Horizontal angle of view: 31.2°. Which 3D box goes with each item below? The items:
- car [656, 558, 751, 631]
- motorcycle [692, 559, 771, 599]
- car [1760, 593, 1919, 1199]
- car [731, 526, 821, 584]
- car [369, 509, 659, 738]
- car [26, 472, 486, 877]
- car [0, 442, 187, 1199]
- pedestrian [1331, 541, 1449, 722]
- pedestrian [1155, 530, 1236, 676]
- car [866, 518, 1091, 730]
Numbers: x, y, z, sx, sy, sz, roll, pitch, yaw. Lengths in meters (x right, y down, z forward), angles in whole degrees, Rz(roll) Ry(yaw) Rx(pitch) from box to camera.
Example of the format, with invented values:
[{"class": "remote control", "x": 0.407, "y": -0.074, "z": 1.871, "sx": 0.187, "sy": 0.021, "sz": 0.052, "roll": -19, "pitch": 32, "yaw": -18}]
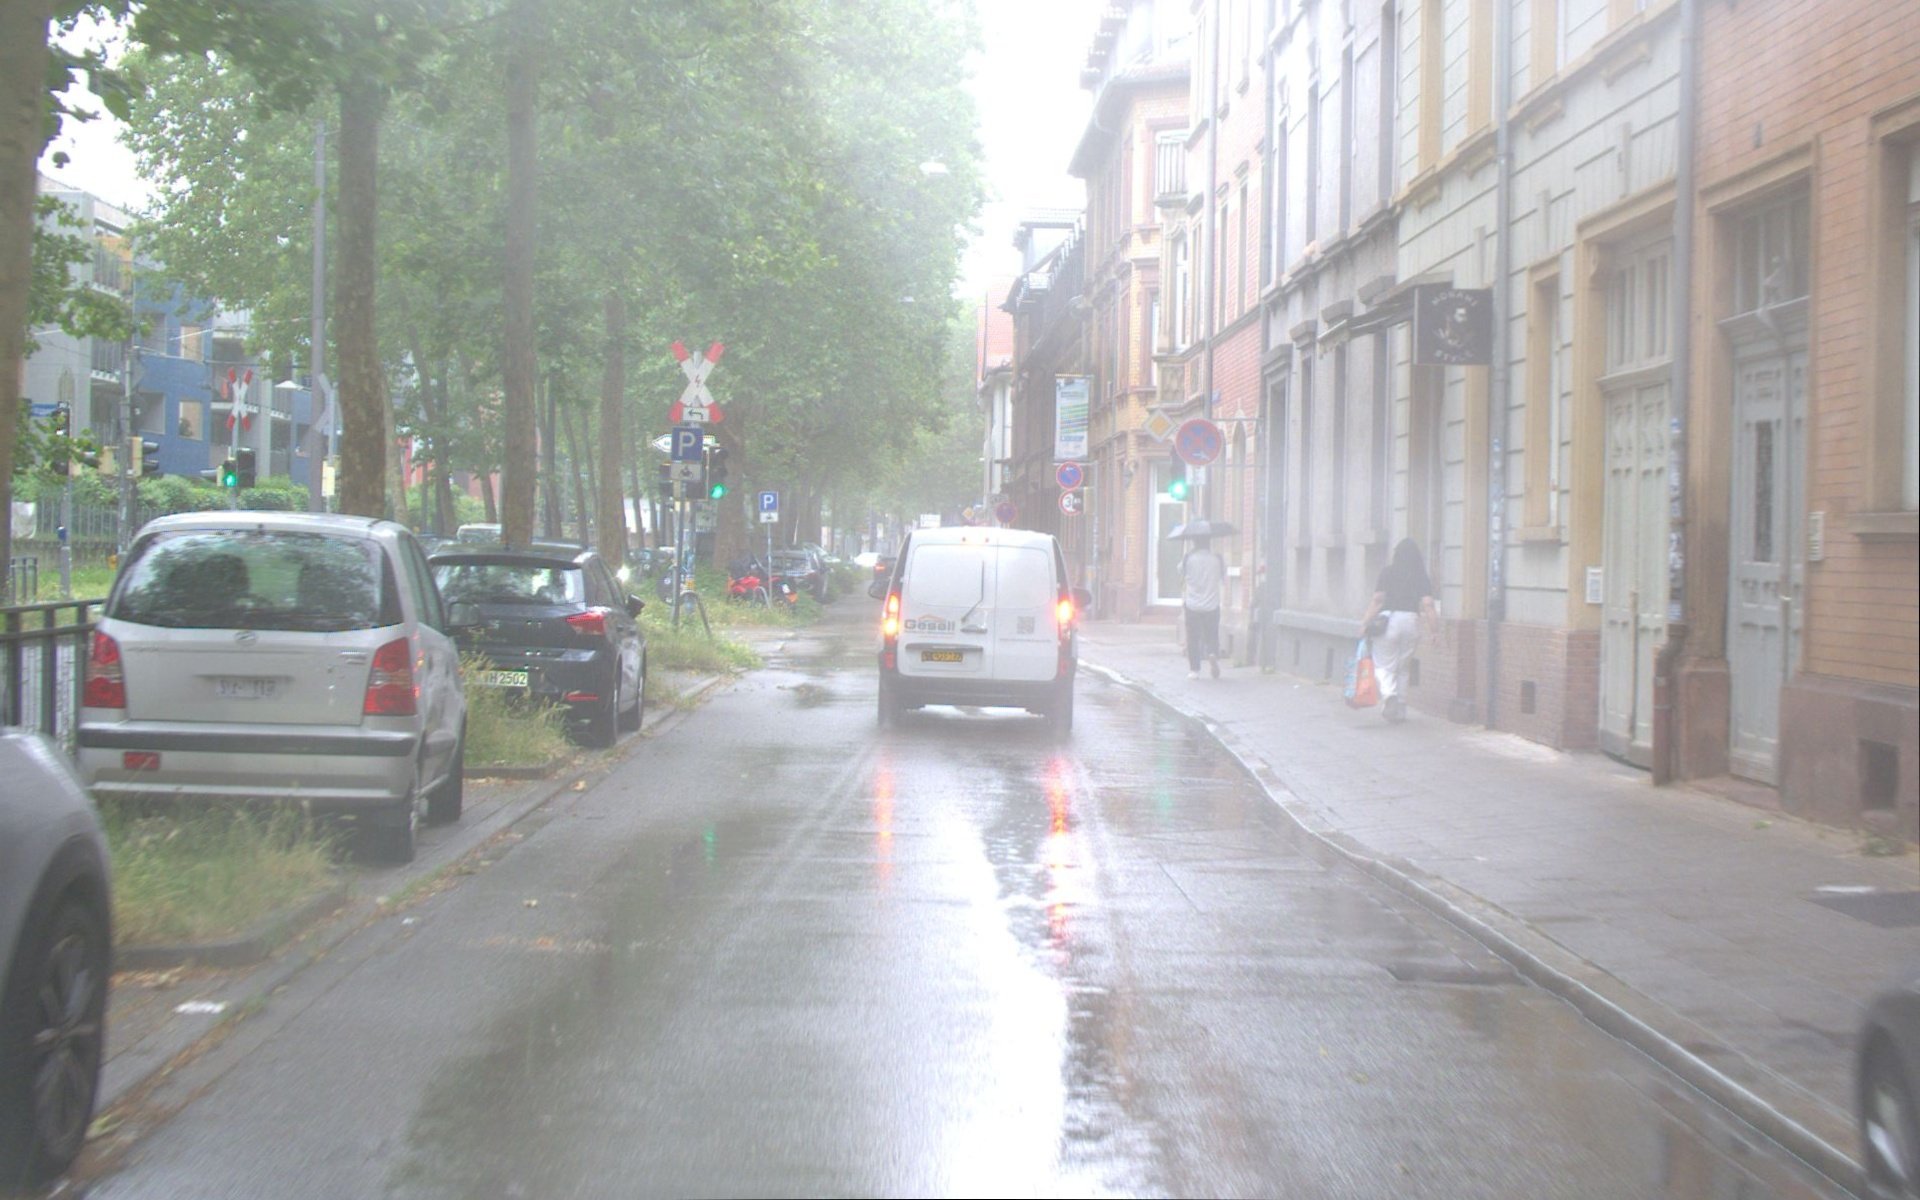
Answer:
[{"class": "car", "x": -6.005, "y": -0.148, "z": 80.777, "sx": 1.997, "sy": 1.607, "sz": 4.000, "roll": 2, "pitch": 1, "yaw": -2}, {"class": "motorcycle", "x": -5.167, "y": -0.476, "z": 77.862, "sx": 1.706, "sy": 0.862, "sz": 0.577, "roll": 2, "pitch": 1, "yaw": 4}, {"class": "car", "x": 2.511, "y": 0.701, "z": 4.754, "sx": 1.814, "sy": 1.416, "sz": 4.696, "roll": -2, "pitch": 1, "yaw": 2}, {"class": "car", "x": -4.604, "y": -1.143, "z": 86.537, "sx": 1.993, "sy": 1.382, "sz": 4.000, "roll": 2, "pitch": 1, "yaw": 0}, {"class": "car", "x": -3.271, "y": 0.144, "z": 25.883, "sx": 1.649, "sy": 1.495, "sz": 4.119, "roll": 3, "pitch": 0, "yaw": -1}, {"class": "car", "x": -3.275, "y": 0.272, "z": 16.596, "sx": 1.623, "sy": 1.676, "sz": 3.660, "roll": 2, "pitch": 1, "yaw": -4}, {"class": "car", "x": -2.878, "y": 0.472, "z": 6.674, "sx": 1.698, "sy": 1.630, "sz": 4.355, "roll": 1, "pitch": 1, "yaw": 1}, {"class": "pedestrian", "x": 3.700, "y": 0.257, "z": 29.672, "sx": 0.840, "sy": 1.506, "sz": 1.108, "roll": -1, "pitch": 1, "yaw": 0}, {"class": "pedestrian", "x": 2.846, "y": 0.024, "z": 41.643, "sx": 0.840, "sy": 1.710, "sz": 1.108, "roll": -2, "pitch": 1, "yaw": 0}, {"class": "car", "x": 0.145, "y": 0.221, "z": 31.940, "sx": 1.903, "sy": 1.791, "sz": 4.113, "roll": 2, "pitch": 0, "yaw": 0}]
